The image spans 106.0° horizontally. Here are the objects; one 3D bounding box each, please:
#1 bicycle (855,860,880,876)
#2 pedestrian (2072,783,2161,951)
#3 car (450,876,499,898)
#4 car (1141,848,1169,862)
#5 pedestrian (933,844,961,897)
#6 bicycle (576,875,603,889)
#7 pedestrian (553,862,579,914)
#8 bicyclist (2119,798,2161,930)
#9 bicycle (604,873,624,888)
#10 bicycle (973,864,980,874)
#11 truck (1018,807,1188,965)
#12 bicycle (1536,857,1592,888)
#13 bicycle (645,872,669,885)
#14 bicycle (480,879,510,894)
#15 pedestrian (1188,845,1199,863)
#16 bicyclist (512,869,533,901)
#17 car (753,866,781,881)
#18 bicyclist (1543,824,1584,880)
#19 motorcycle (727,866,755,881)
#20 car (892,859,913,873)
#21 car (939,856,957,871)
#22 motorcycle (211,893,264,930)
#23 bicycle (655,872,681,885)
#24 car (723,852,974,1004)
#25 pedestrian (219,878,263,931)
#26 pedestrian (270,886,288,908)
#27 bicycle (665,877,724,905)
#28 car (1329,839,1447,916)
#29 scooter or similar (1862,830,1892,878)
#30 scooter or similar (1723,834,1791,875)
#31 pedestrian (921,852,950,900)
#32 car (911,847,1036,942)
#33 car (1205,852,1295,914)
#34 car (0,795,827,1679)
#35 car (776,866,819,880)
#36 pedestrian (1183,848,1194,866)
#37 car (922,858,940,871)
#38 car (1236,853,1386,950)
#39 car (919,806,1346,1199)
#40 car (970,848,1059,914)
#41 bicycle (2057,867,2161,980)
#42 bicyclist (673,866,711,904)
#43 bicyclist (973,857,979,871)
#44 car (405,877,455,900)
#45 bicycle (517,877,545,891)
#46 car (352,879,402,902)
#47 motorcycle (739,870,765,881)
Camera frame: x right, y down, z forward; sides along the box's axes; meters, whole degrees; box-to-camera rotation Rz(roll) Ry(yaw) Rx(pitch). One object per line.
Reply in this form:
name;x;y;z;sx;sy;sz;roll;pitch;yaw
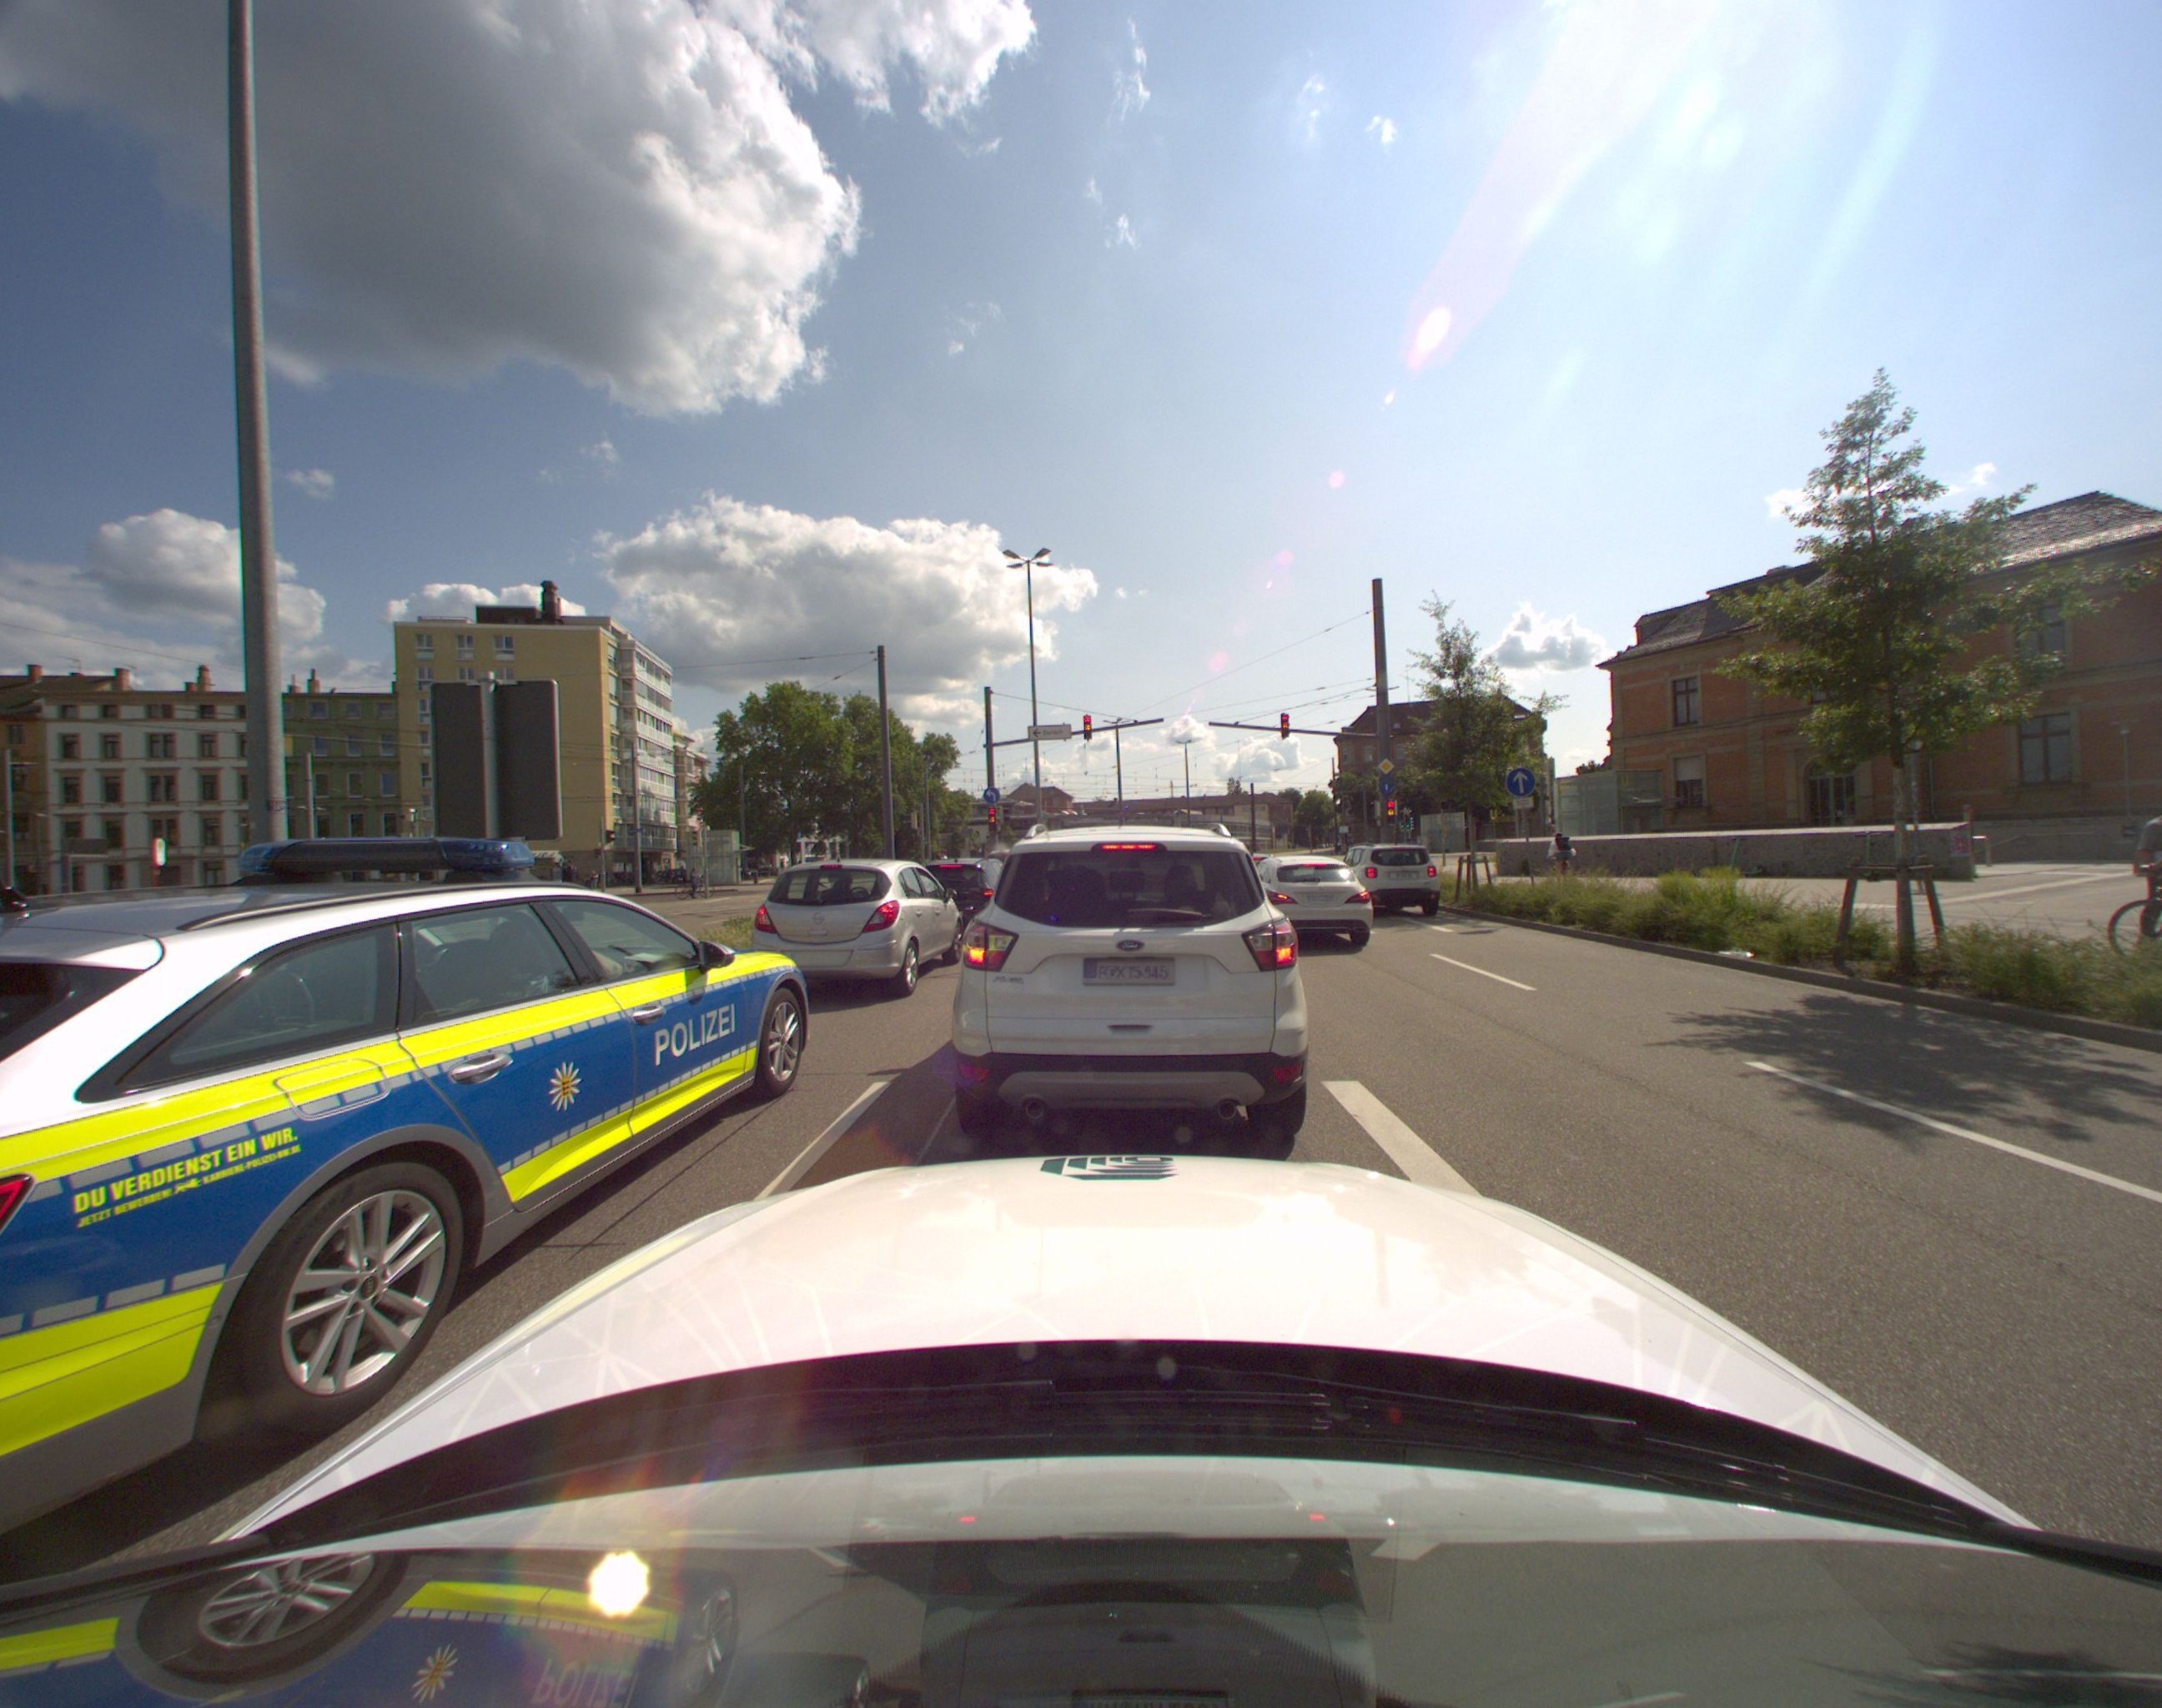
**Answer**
bicycle;-19.796;1.323;75.572;2.171;1.414;0.808;-1;0;-14
pedestrian;11.727;0.118;8.895;0.735;1.754;0.895;-5;-1;25
car;-45.966;2.484;61.670;3.849;1.496;1.912;-3;-2;36
car;8.535;0.070;93.674;1.882;1.461;3.991;-3;0;24
pedestrian;-4.935;0.610;30.058;0.844;1.917;0.693;-3;-1;1
bicycle;-42.396;2.399;70.218;1.808;1.104;0.792;-2;0;-18
pedestrian;-19.082;1.245;30.181;0.770;1.903;0.819;0;-1;-30
bicyclist;10.371;0.078;7.405;0.632;1.220;0.925;-4;0;3
bicycle;-41.318;2.309;72.087;0.792;1.258;1.808;-2;0;-2
bicycle;-12.757;1.804;99.508;0.638;1.125;1.777;-2;0;-11
truck;0.471;0.443;14.264;2.329;2.155;5.857;-1;0;3
bicycle;12.851;0.476;21.696;0.582;0.775;1.623;-2;0;4
bicycle;-38.357;2.221;73.706;1.808;1.147;0.792;-2;0;-17
bicycle;-49.381;2.742;68.637;1.808;1.104;0.792;-2;0;-18
pedestrian;10.976;0.049;79.581;0.931;1.744;0.582;0;-1;-40
bicyclist;-32.418;1.790;47.273;0.779;1.797;0.706;0;-1;-17
car;-32.485;2.042;84.394;1.905;1.413;3.986;-3;-1;-10
bicyclist;12.835;-0.061;21.698;0.606;1.451;0.775;-2;0;2
motorcycle;-30.459;1.785;72.894;2.193;1.238;0.910;-2;1;19
car;-27.535;1.882;125.876;1.960;1.937;5.070;-4;-1;1
car;-20.296;1.450;124.330;1.989;2.014;4.227;-4;-1;-2
motorcycle;-30.650;2.077;29.592;1.436;1.236;0.484;-3;-1;3
bicycle;-38.045;2.243;75.003;1.948;1.147;0.792;-2;0;-17
car;-2.623;0.750;10.251;1.841;1.474;4.002;-2;0;2
pedestrian;-29.737;1.768;28.850;0.769;1.797;1.019;0;-1;-26
pedestrian;-58.397;3.135;59.293;0.699;1.534;0.552;-3;0;-18
bicycle;-18.553;1.749;39.101;2.286;1.188;0.994;-3;-1;-1
car;7.324;0.526;19.835;1.826;1.652;4.009;-1;-1;8
scooter or similar;19.693;-0.006;20.143;1.326;1.104;0.460;-4;0;-44
scooter or similar;19.396;0.019;23.398;0.466;1.118;1.438;-3;0;-18
pedestrian;-5.210;0.788;29.212;0.844;1.648;0.693;-3;-1;1
car;-1.970;0.694;16.208;1.756;1.568;4.528;-2;0;1
car;4.220;0.688;20.842;1.841;1.419;3.684;-1;0;5
car;-2.825;0.710;3.477;1.873;1.568;4.616;-2;0;1
car;-30.443;2.009;87.489;3.975;1.327;1.632;-3;-1;-1
pedestrian;10.619;0.275;80.276;0.931;1.744;0.582;0;-1;-41
car;-22.930;1.641;124.647;1.963;1.937;4.227;-4;-1;-2
car;3.790;0.714;14.045;1.841;1.419;3.684;-1;0;5
car;0.393;0.647;5.494;1.818;1.664;3.961;-1;0;5
car;-1.695;0.658;22.293;2.033;1.578;4.538;-1;0;0
bicycle;10.362;0.647;7.308;0.843;0.970;1.962;-5;0;3
bicyclist;-18.673;1.481;39.108;1.293;1.731;0.994;-3;-1;-1
bicyclist;-12.773;1.233;99.414;0.638;1.738;0.659;-1;0;-11
car;-48.053;2.537;60.106;3.849;1.496;1.912;-3;-2;35
bicycle;-46.807;2.514;69.314;1.808;1.104;0.792;-2;0;-18
car;-51.474;2.674;59.550;3.849;1.496;1.912;-3;-2;35
motorcycle;-31.412;2.015;77.762;0.801;0.917;2.057;-2;1;39
